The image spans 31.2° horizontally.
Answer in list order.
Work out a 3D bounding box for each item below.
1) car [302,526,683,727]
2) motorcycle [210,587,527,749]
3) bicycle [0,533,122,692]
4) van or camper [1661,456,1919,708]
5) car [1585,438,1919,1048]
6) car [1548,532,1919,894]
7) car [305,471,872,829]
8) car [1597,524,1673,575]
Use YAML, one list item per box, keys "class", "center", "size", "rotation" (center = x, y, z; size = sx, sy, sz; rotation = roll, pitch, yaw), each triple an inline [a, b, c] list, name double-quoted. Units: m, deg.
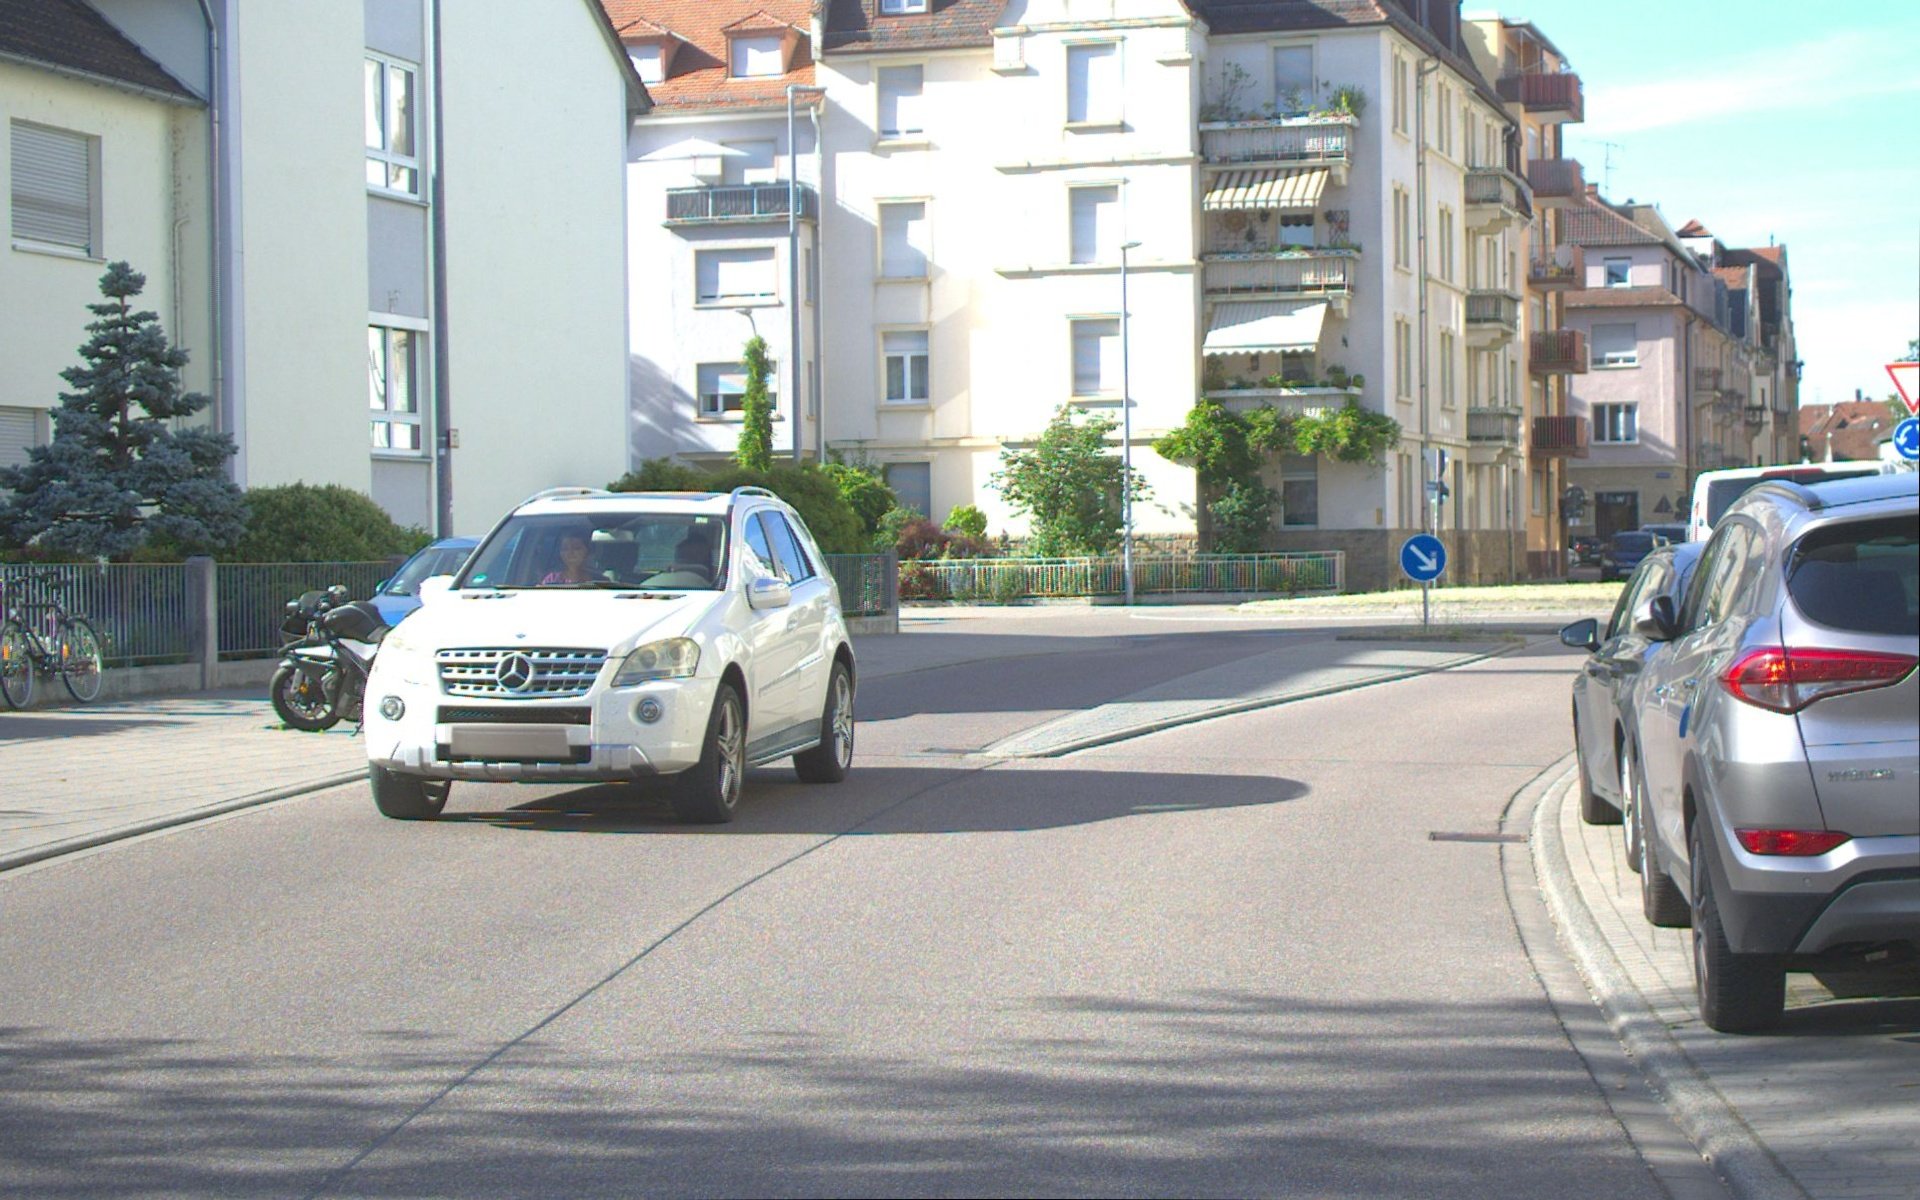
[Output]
- class: "car"
  center: [-3.686, 0.149, 27.885]
  size: [1.798, 1.468, 4.329]
  rotation: [1, 1, 10]
- class: "motorcycle"
  center: [-4.290, 0.472, 24.941]
  size: [2.059, 1.015, 0.946]
  rotation: [3, 3, 22]
- class: "bicycle"
  center: [-7.408, 0.123, 27.988]
  size: [0.456, 1.246, 1.927]
  rotation: [-1, -2, 8]
- class: "van or camper"
  center: [7.447, -0.185, 29.763]
  size: [2.022, 1.940, 4.699]
  rotation: [-2, 0, 19]
- class: "car"
  center: [3.182, 0.436, 11.527]
  size: [1.817, 1.648, 4.558]
  rotation: [-1, -1, 7]
- class: "car"
  center: [3.802, 0.427, 16.253]
  size: [1.718, 1.404, 4.313]
  rotation: [-3, 1, 7]
- class: "car"
  center: [-1.939, 0.216, 19.525]
  size: [1.990, 1.779, 4.517]
  rotation: [-1, 1, 10]
- class: "car"
  center: [20.804, -1.572, 105.880]
  size: [1.995, 1.527, 3.997]
  rotation: [0, 1, 15]
